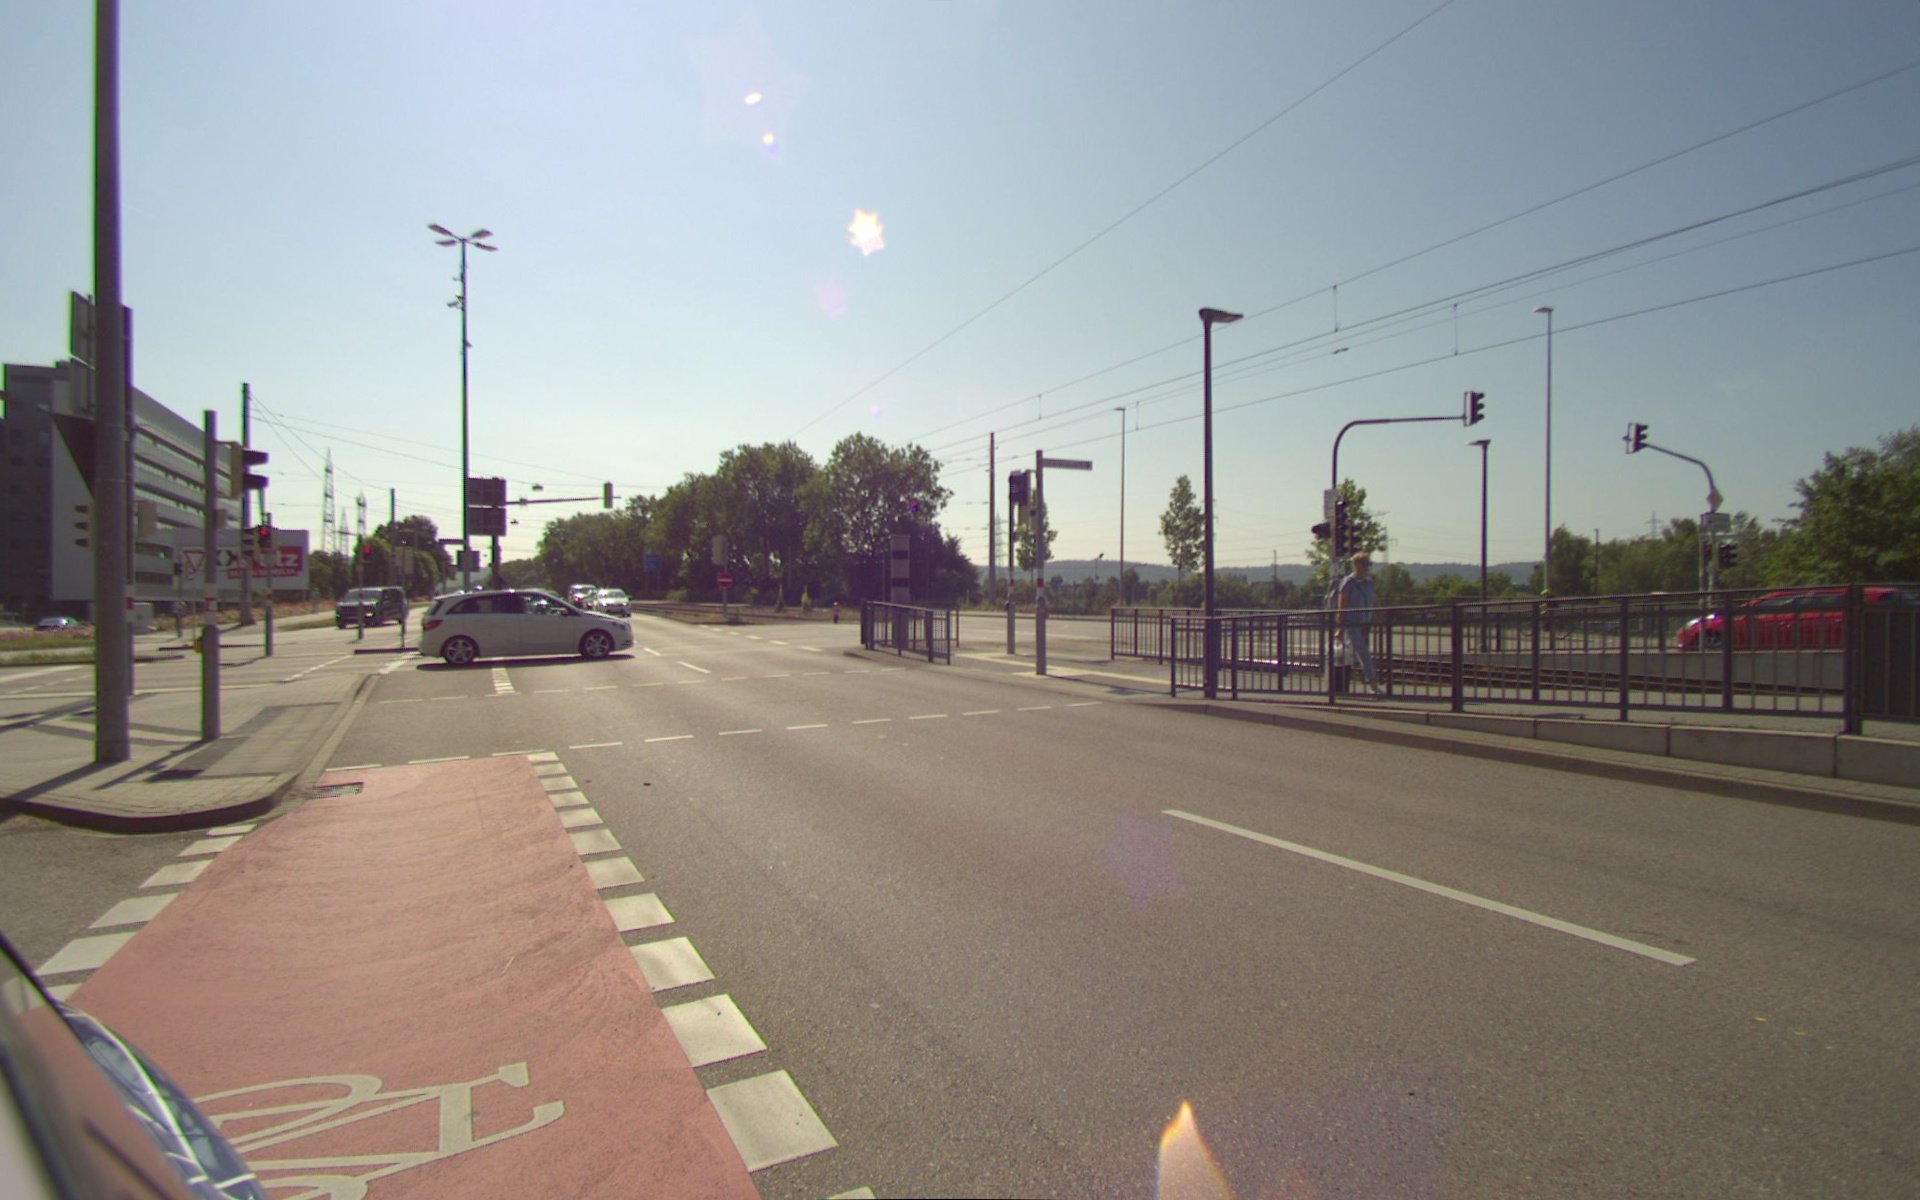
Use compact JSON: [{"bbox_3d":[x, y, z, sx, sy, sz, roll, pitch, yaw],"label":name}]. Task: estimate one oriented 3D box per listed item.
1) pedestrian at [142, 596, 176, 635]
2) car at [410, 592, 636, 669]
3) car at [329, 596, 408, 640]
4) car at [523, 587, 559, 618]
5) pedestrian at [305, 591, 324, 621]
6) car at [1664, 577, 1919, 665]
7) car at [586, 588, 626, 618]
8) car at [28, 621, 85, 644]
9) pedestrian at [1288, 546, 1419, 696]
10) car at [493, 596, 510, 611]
[{"bbox_3d":[-36.559,0.710,46.191,0.829,1.720,0.907,-1,-1,-6],"label":"pedestrian"},{"bbox_3d":[-9.414,0.600,21.902,4.313,1.459,1.753,-1,1,-27],"label":"car"},{"bbox_3d":[-29.095,0.860,49.916,1.789,1.939,4.005,-1,2,-4],"label":"car"},{"bbox_3d":[-21.342,0.142,51.469,1.385,1.511,3.408,1,-1,-28],"label":"car"},{"bbox_3d":[-43.347,0.385,67.987,0.902,1.987,0.721,1,-1,-21],"label":"pedestrian"},{"bbox_3d":[15.880,0.349,19.009,1.716,1.456,4.013,-1,0,-28],"label":"car"},{"bbox_3d":[-18.618,0.150,53.101,1.385,1.511,3.364,1,-1,-30],"label":"car"},{"bbox_3d":[-56.527,1.990,63.396,1.699,1.340,3.872,1,0,-27],"label":"car"},{"bbox_3d":[4.224,0.213,10.901,0.990,1.522,0.777,-2,0,-15],"label":"pedestrian"},{"bbox_3d":[-53.492,0.408,117.971,1.604,1.637,3.798,-1,0,-28],"label":"car"}]
